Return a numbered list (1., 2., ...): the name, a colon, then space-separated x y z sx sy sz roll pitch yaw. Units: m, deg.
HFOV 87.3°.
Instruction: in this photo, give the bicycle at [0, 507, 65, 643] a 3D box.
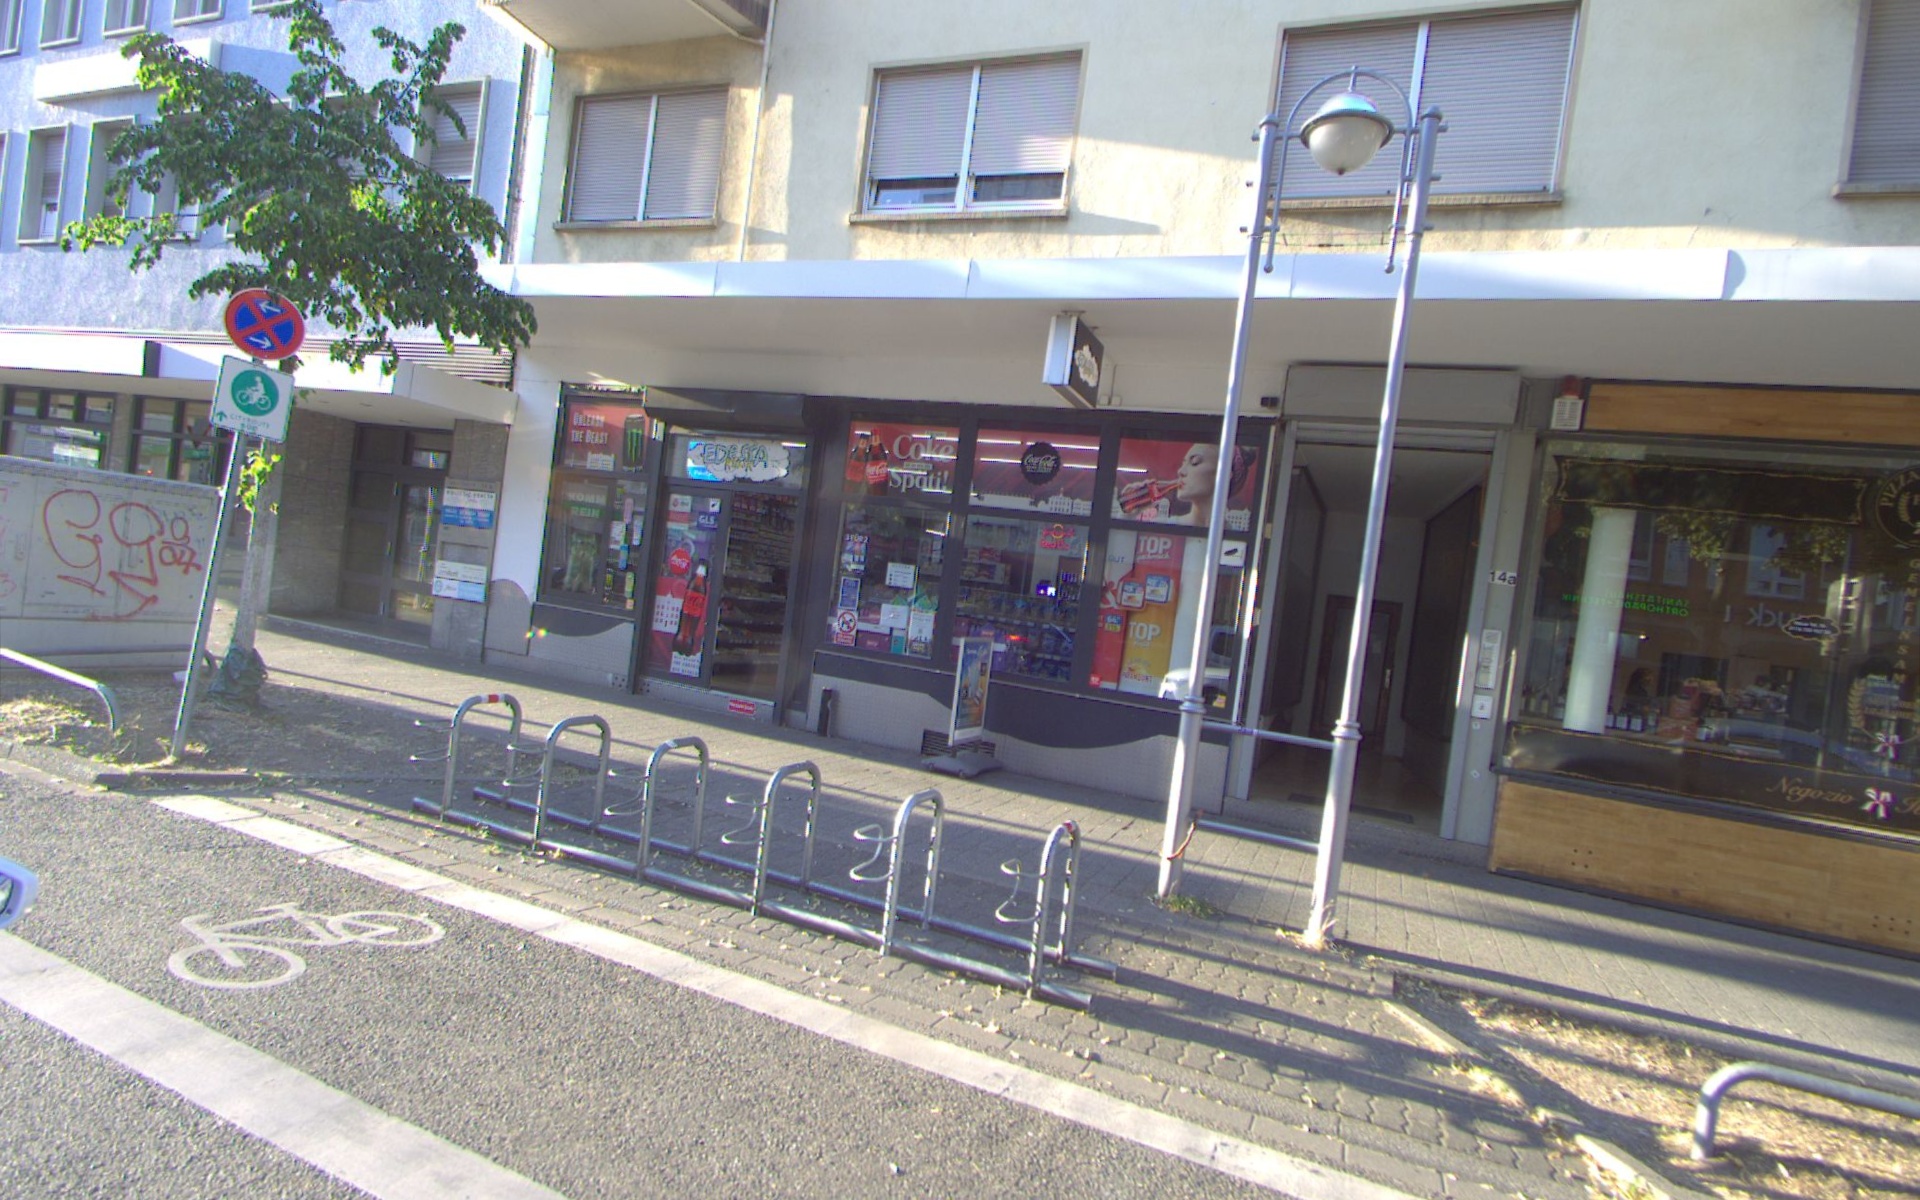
1. bicycle: -9.171 -0.282 9.113 0.376 1.234 1.446 7 -1 25
